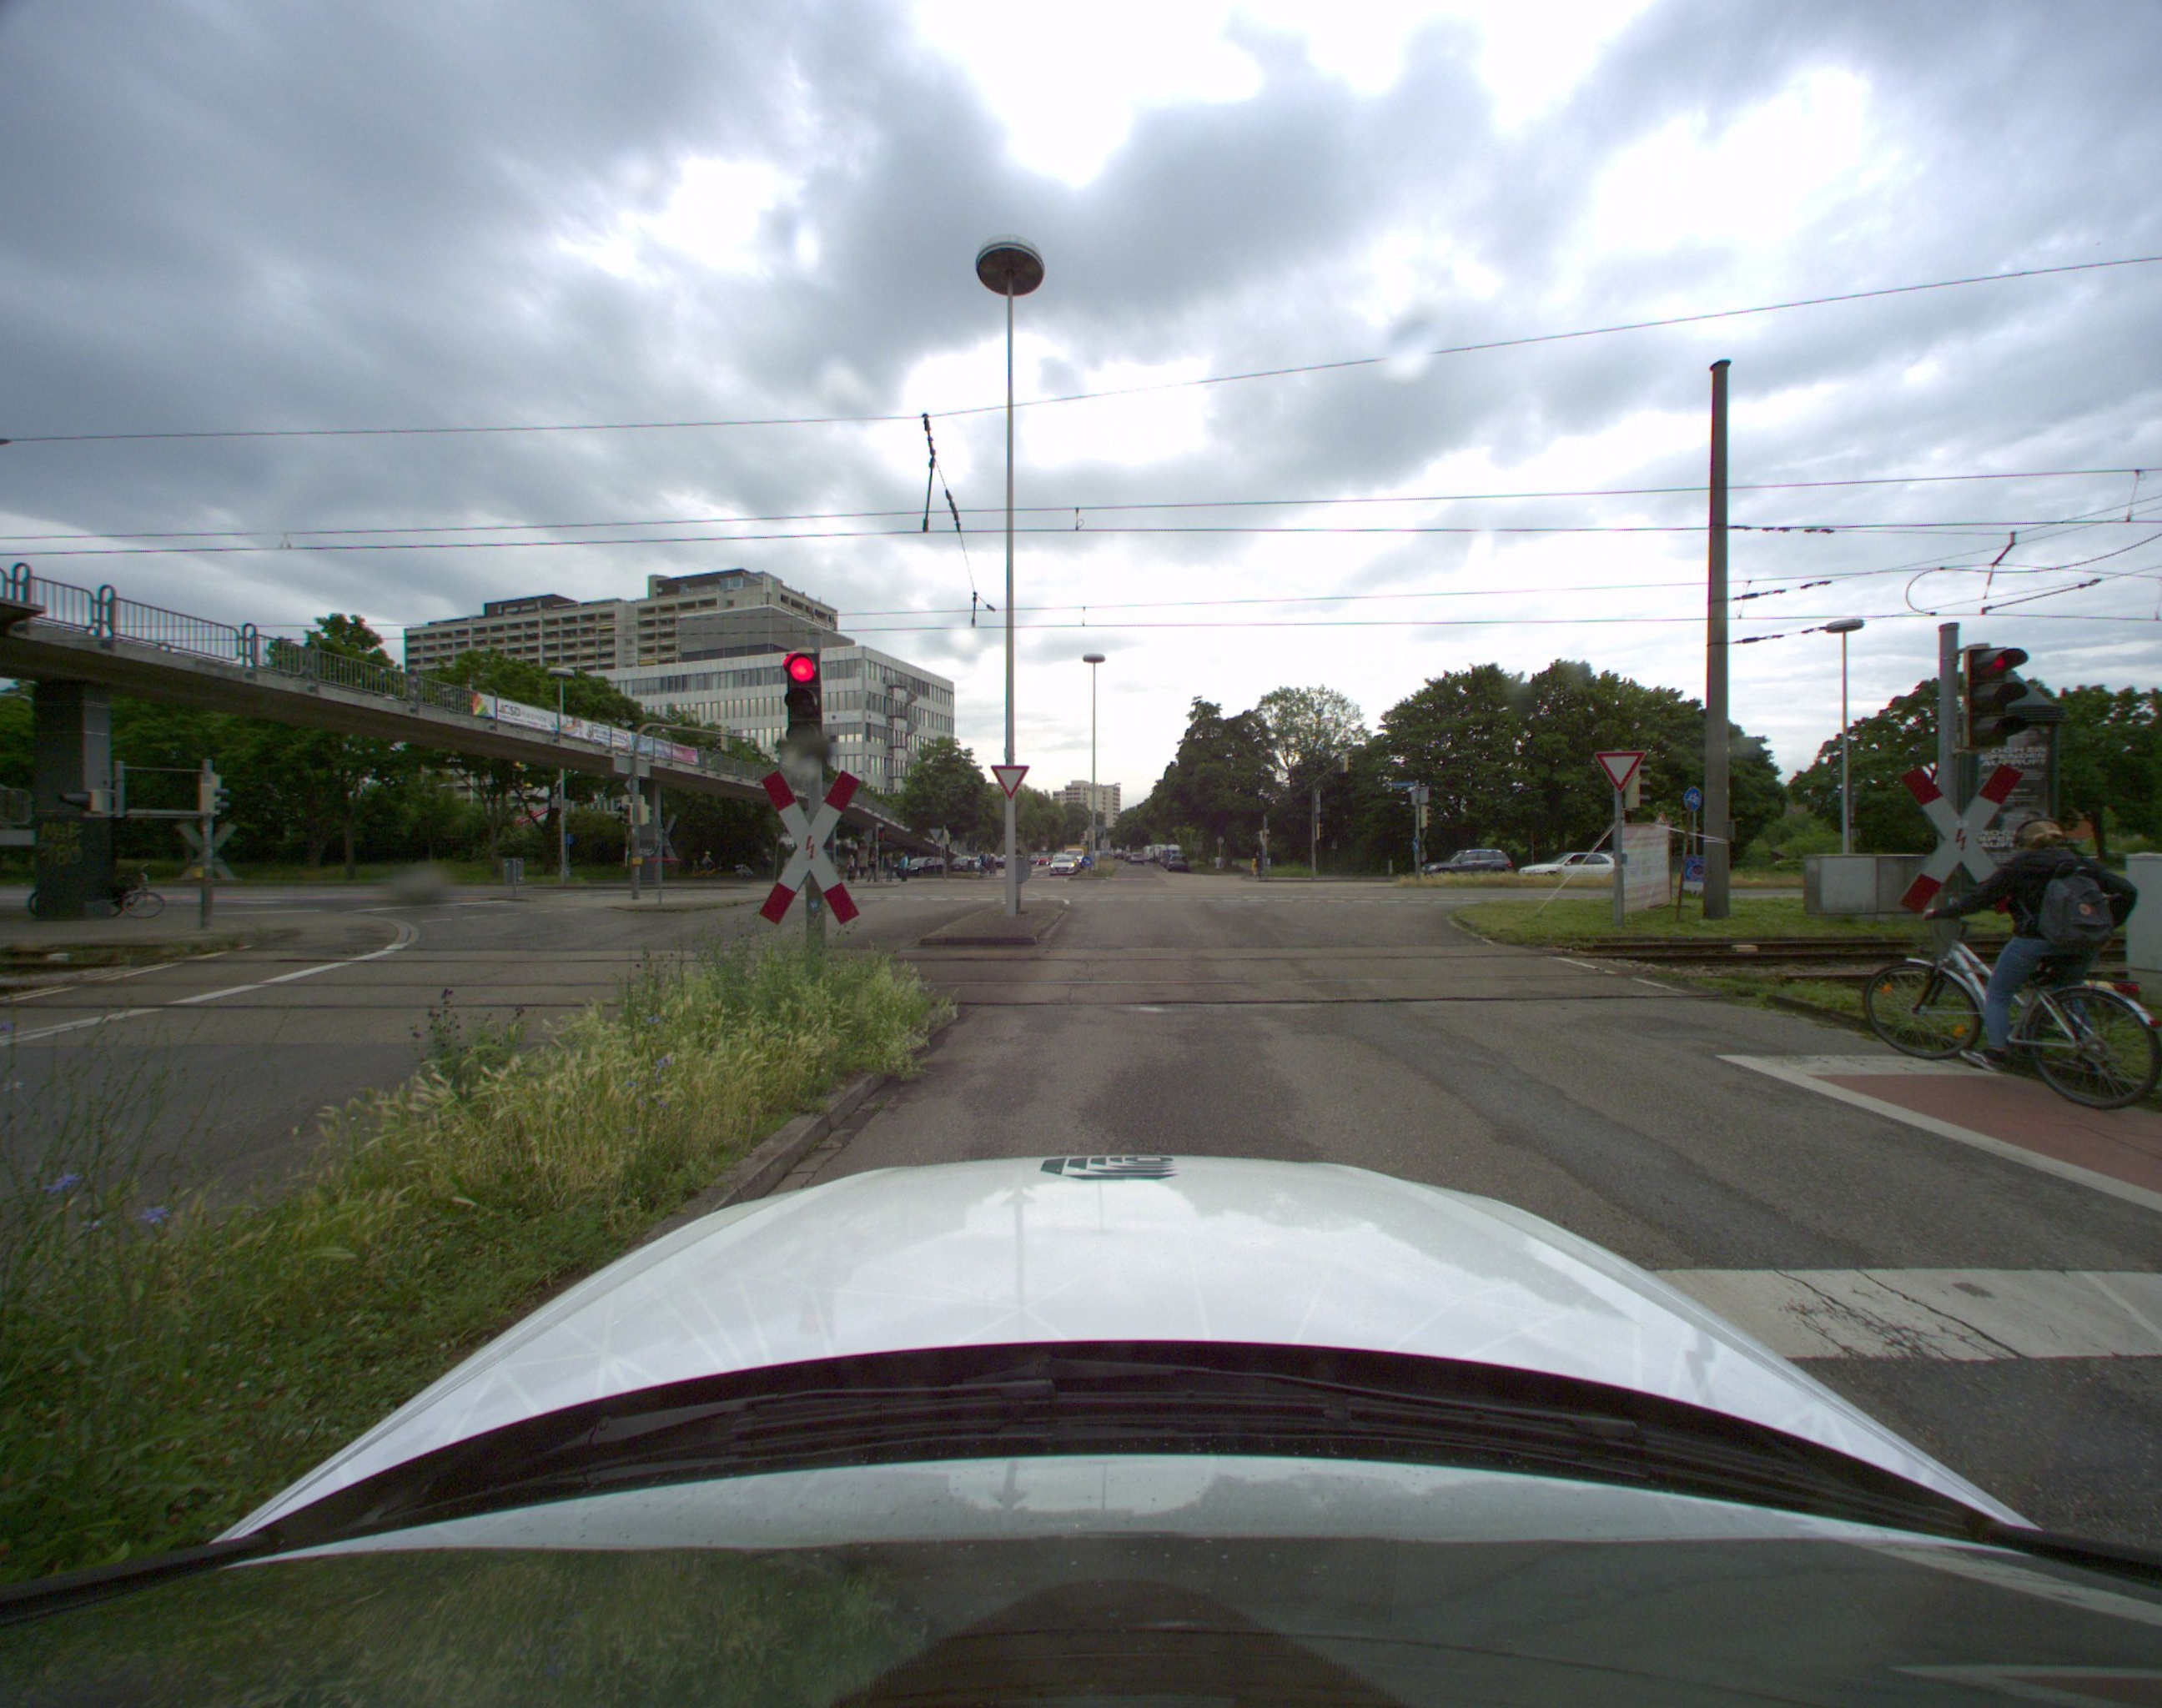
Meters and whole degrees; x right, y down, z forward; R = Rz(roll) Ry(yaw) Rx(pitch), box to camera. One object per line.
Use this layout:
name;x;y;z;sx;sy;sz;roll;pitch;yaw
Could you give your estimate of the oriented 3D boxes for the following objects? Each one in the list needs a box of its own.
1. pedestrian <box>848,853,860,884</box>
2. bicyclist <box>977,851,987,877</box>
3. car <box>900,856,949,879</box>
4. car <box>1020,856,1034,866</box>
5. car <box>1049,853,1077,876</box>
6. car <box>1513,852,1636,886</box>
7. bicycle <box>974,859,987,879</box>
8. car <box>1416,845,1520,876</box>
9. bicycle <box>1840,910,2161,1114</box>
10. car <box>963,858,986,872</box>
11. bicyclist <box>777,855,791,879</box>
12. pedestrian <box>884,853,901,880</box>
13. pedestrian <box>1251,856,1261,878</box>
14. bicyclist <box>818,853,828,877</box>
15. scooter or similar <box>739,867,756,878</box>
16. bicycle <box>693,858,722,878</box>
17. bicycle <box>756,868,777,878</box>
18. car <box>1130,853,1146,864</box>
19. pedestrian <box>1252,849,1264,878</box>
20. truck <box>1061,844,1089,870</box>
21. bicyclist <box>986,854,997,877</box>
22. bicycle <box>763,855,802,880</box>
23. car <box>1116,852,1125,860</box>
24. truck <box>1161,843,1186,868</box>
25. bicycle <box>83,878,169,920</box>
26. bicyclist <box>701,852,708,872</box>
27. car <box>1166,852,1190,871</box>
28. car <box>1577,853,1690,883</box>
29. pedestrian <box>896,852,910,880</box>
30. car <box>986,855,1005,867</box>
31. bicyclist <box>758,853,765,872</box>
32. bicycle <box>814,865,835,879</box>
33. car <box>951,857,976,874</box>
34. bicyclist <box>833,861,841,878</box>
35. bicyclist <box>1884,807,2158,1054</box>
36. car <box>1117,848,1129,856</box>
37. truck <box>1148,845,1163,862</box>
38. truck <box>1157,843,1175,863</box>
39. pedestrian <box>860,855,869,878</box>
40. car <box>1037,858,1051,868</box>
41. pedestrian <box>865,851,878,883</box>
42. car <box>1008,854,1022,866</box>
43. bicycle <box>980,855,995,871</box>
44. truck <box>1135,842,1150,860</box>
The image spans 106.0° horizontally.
pedestrian;-12.730;0.795;45.595;0.619;1.691;0.403;0;0;-12
bicyclist;-6.795;0.709;55.947;0.642;1.768;0.647;0;0;1
car;-11.071;0.940;57.758;1.658;1.552;4.019;0;0;18
car;-8.344;1.051;126.201;1.665;1.552;4.003;0;0;3
car;-1.263;0.716;58.059;1.782;1.519;4.327;0;0;2
car;20.514;0.615;33.945;4.120;1.357;1.648;0;0;2
bicycle;-6.786;0.999;55.263;0.541;1.267;2.112;0;0;2
car;19.644;0.326;41.509;4.447;1.504;1.847;0;0;2
bicycle;6.071;0.923;5.320;0.381;0.980;2.030;0;-1;2
car;-10.867;1.102;83.579;1.665;1.387;3.898;0;0;3
bicyclist;-19.765;0.855;54.182;0.753;1.625;0.522;0;0;-35
pedestrian;-10.707;0.714;46.197;0.917;1.511;0.402;0;0;-10
pedestrian;10.707;0.787;49.801;0.525;1.342;0.525;0;0;1
bicyclist;-17.934;0.782;56.621;0.563;1.644;0.532;0;-1;2
scooter or similar;-22.459;1.271;54.820;1.001;0.715;0.402;0;0;-34
bicycle;-24.605;0.901;53.644;1.708;1.304;0.387;0;0;-17
bicycle;-21.464;1.289;55.505;1.303;0.692;0.287;0;0;-34
car;7.764;0.637;111.803;2.013;1.505;4.002;0;0;2
pedestrian;10.681;0.575;49.129;0.654;1.750;0.459;0;0;1
truck;-0.504;0.247;72.088;2.147;2.199;5.844;0;0;3
bicyclist;-6.480;0.830;58.747;0.676;1.594;0.695;0;-1;1
bicycle;-19.822;0.855;54.181;2.376;1.625;0.522;0;0;-35
car;7.611;0.422;158.847;1.549;1.505;3.999;0;0;0
truck;10.270;0.205;90.668;2.166;2.656;6.249;-1;0;2
bicycle;-21.682;1.004;18.489;2.017;0.921;0.375;0;0;13
bicyclist;-24.790;0.528;53.604;0.406;1.253;0.276;0;0;-13
car;8.790;0.619;73.890;1.777;1.662;4.002;0;0;2
car;27.720;0.705;40.949;4.447;1.440;1.847;0;0;2
pedestrian;-10.084;0.674;46.216;0.685;1.605;0.487;0;0;-3
car;-10.076;0.820;96.193;1.757;1.395;4.002;0;0;2
bicyclist;-21.770;0.556;55.450;0.385;1.303;0.275;0;0;-35
bicycle;-17.817;1.226;56.603;0.628;0.925;2.524;0;0;2
car;-11.212;1.042;78.088;1.665;1.552;3.894;0;0;3
bicyclist;-16.655;1.060;55.552;0.403;1.181;0.378;0;1;4
bicyclist;6.036;0.452;5.299;0.619;1.424;0.961;4;0;1
car;7.274;-0.352;142.259;2.013;1.505;4.002;0;0;2
truck;12.090;-0.069;132.078;1.987;2.573;5.377;0;-1;0
truck;12.493;-0.177;119.987;1.988;2.838;5.727;0;0;-2
pedestrian;-14.833;0.837;55.904;0.580;1.579;0.777;0;0;-16
car;-5.033;1.248;111.605;1.505;1.390;3.537;0;-1;4
pedestrian;-11.882;0.740;46.198;0.636;1.803;0.800;0;0;-7
car;-8.734;0.789;107.473;1.439;1.552;3.666;0;0;2
bicycle;-6.657;0.665;57.982;0.724;1.101;2.265;0;0;2
truck;10.785;-0.448;142.913;1.988;3.009;5.768;0;-1;-1
